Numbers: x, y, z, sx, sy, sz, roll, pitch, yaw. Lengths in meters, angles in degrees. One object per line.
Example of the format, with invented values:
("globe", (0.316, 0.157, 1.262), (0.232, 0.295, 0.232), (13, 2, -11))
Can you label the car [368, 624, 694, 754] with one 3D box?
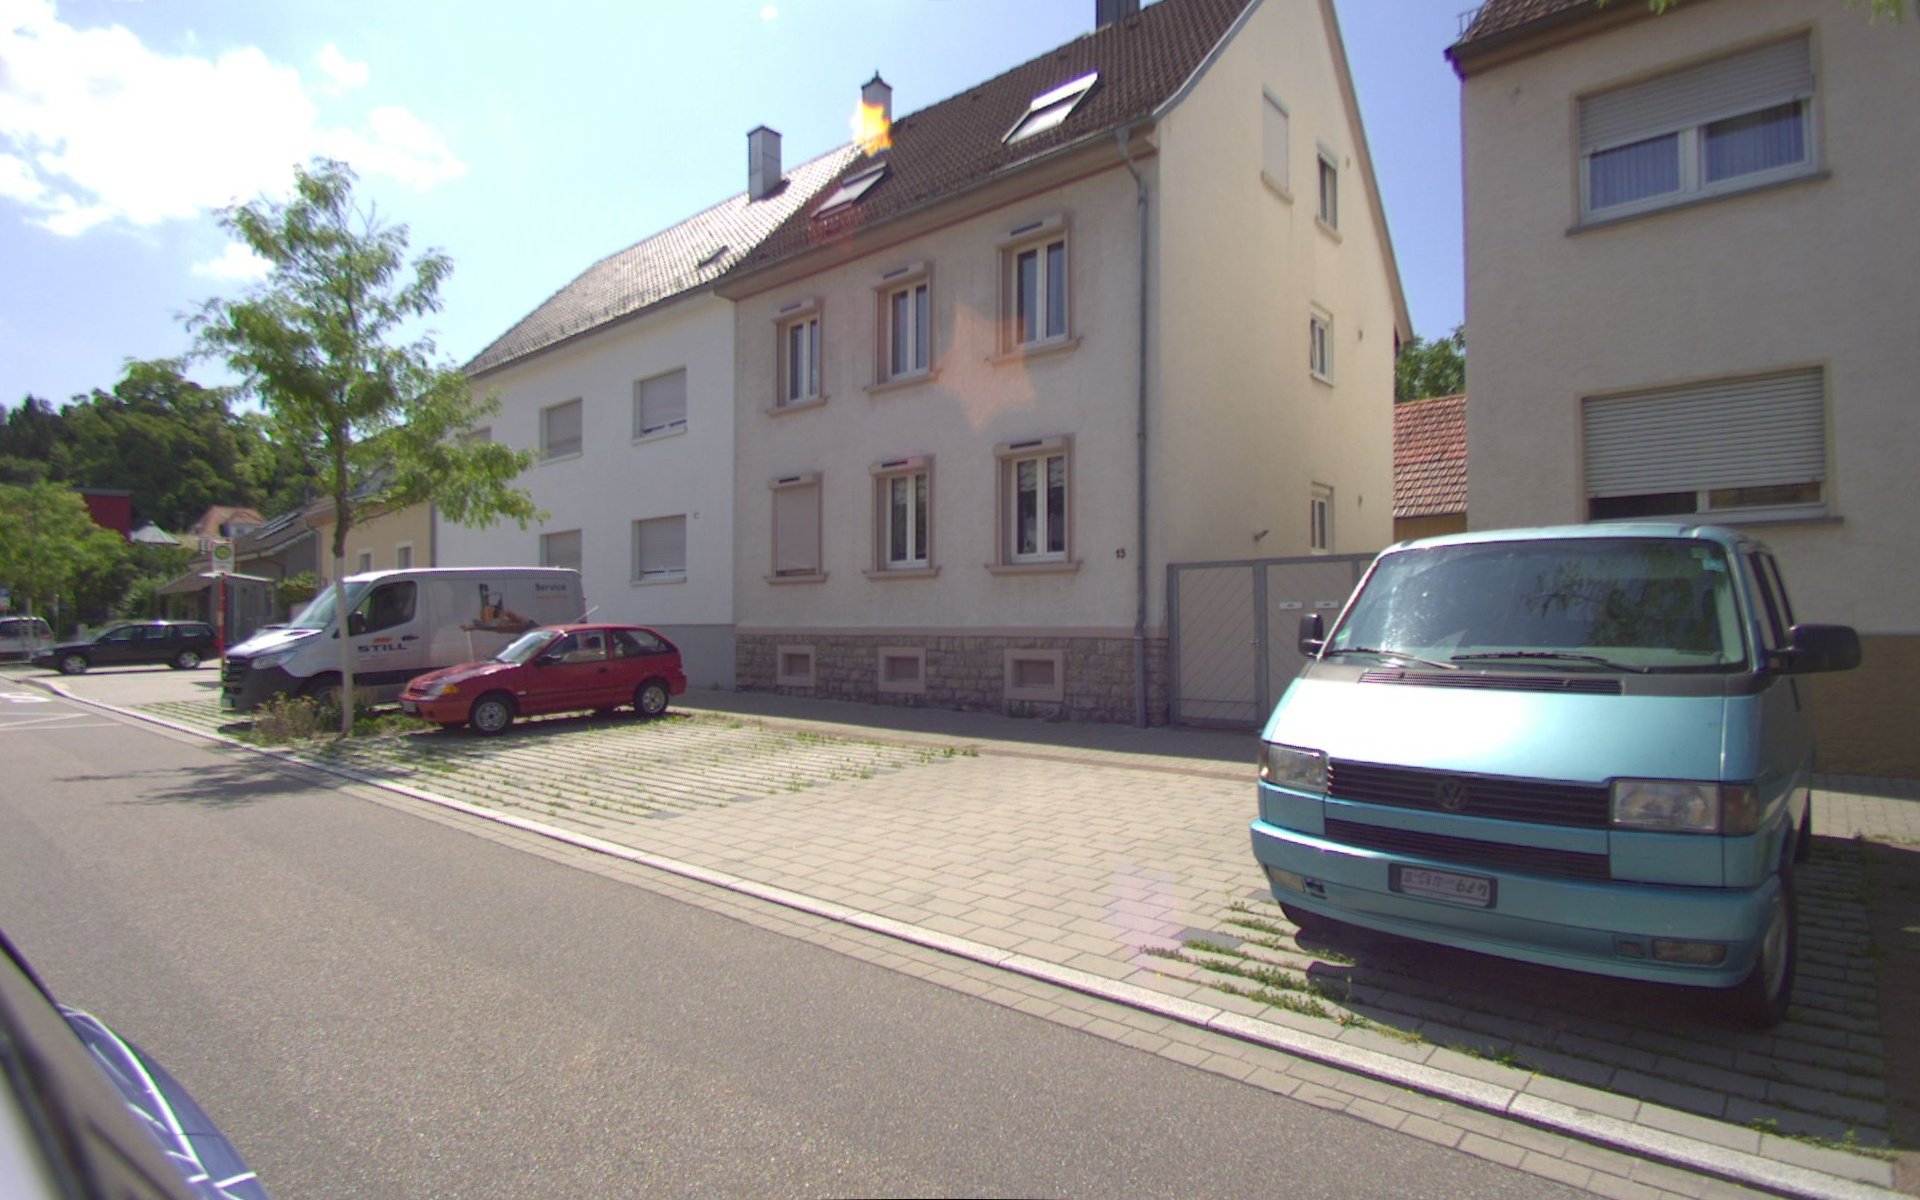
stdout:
("car", (-5.765, 1.101, 13.907), (1.725, 1.396, 3.743), (-1, 0, 42))

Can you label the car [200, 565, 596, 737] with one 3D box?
("car", (-8.761, 0.660, 16.241), (2.155, 2.305, 5.115), (-2, 0, 39))

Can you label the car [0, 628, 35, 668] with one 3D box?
("car", (-39.353, 1.995, 41.417), (3.906, 1.536, 1.705), (-3, -1, 40))

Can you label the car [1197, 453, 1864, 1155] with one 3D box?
("car", (3.256, 0.528, 5.171), (2.000, 1.921, 4.627), (-1, 0, 42))

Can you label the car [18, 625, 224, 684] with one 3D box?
("car", (-25.170, 1.582, 30.496), (1.901, 1.528, 4.539), (-2, -1, 41))

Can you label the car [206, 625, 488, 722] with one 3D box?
("car", (-10.912, 1.224, 18.223), (1.899, 1.457, 3.948), (-2, -1, 39))

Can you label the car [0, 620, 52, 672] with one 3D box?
("car", (-35.005, 1.719, 37.347), (4.686, 1.761, 1.819), (-3, -1, 43))
